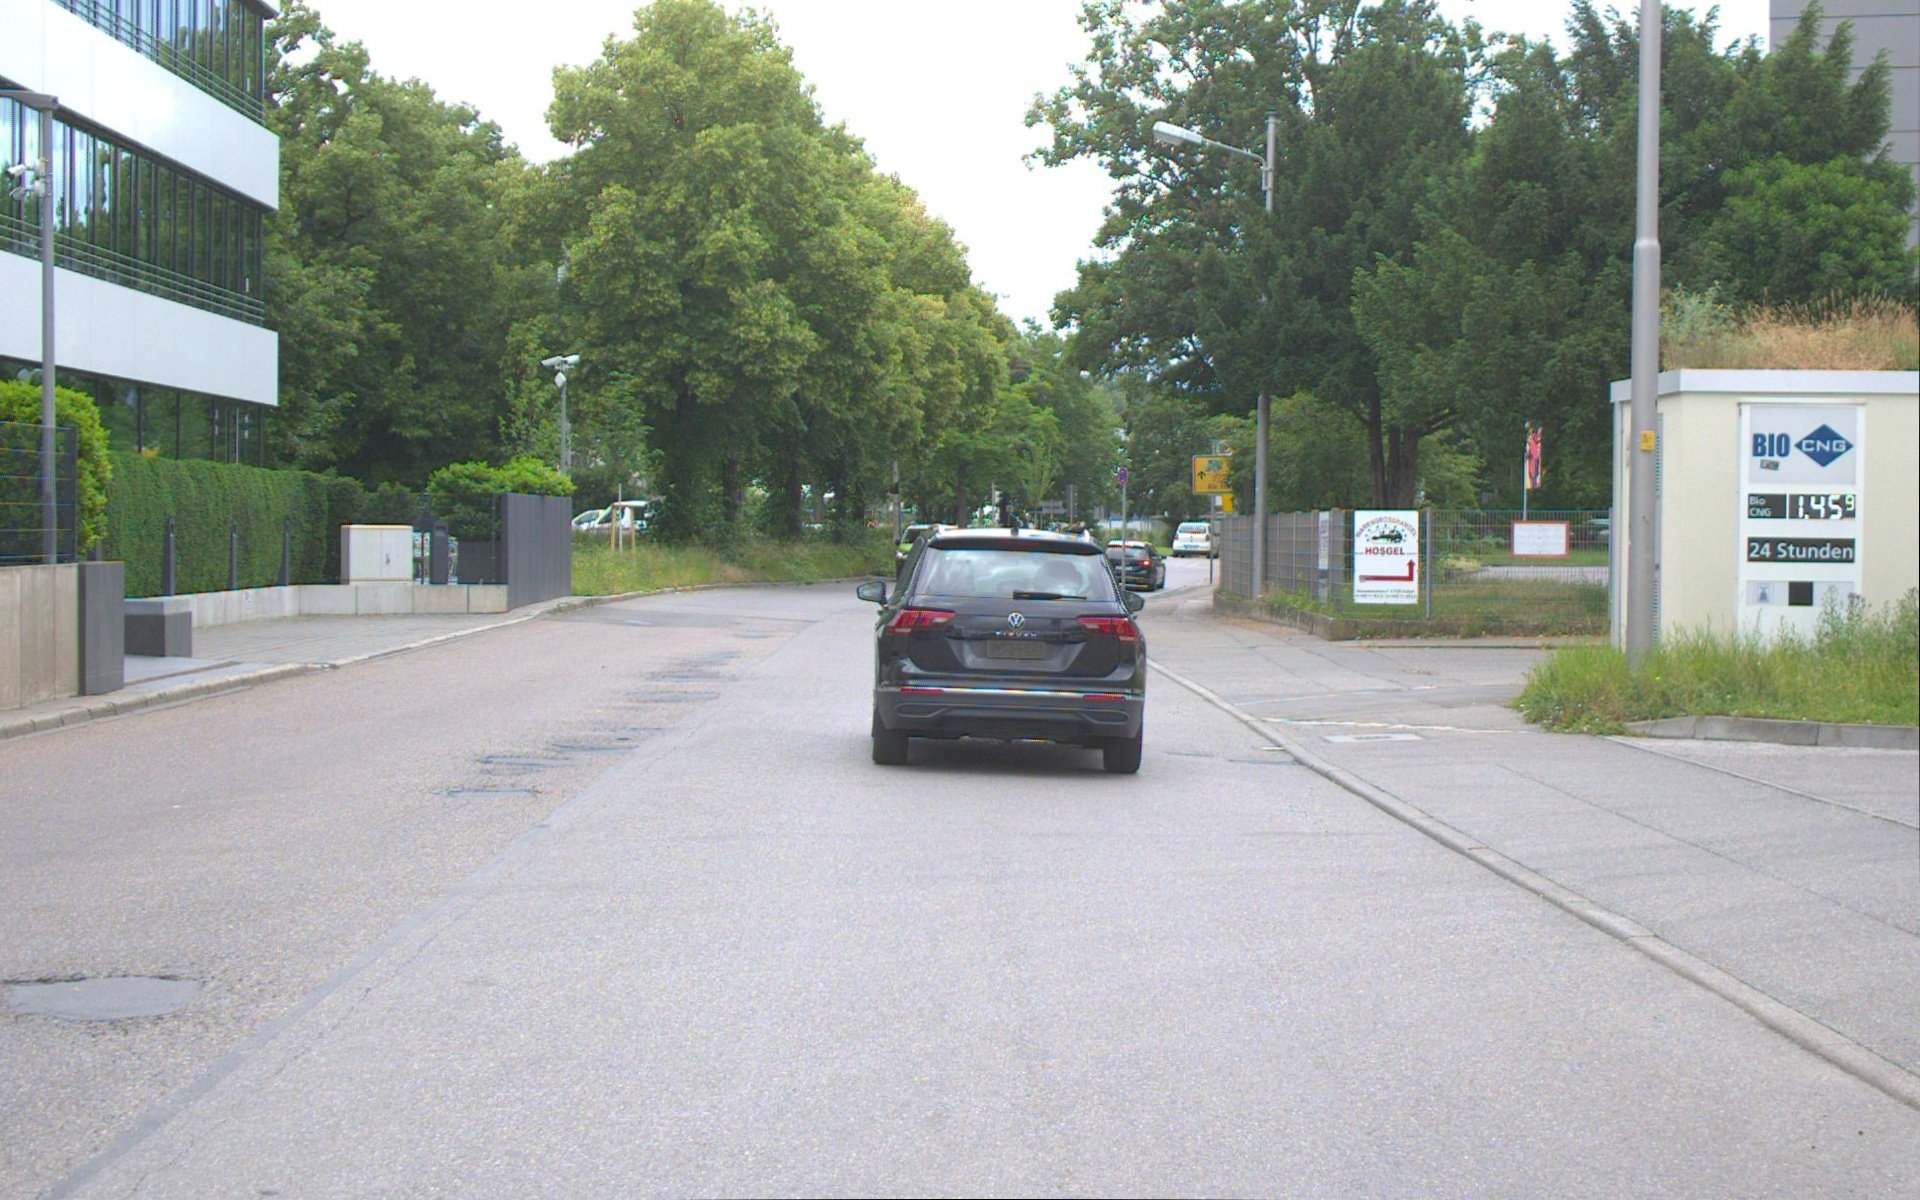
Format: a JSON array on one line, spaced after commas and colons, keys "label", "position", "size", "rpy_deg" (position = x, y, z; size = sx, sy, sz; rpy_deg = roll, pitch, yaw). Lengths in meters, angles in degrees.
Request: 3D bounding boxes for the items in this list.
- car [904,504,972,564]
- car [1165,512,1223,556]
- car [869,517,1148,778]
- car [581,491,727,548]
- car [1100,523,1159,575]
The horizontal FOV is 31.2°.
[{"label": "car", "position": [-0.672, -2.068, 107.428], "size": [1.808, 1.758, 4.205], "rpy_deg": [2, 1, 3]}, {"label": "car", "position": [9.933, -2.804, 145.881], "size": [1.994, 1.780, 3.998], "rpy_deg": [2, 1, 10]}, {"label": "car", "position": [0.367, 0.284, 23.985], "size": [1.739, 1.612, 3.641], "rpy_deg": [2, 1, 2]}, {"label": "car", "position": [-13.313, -3.516, 149.952], "size": [6.071, 2.379, 2.395], "rpy_deg": [1, 2, 2]}, {"label": "car", "position": [5.115, -1.554, 104.097], "size": [1.659, 1.569, 3.829], "rpy_deg": [0, 1, 1]}]
